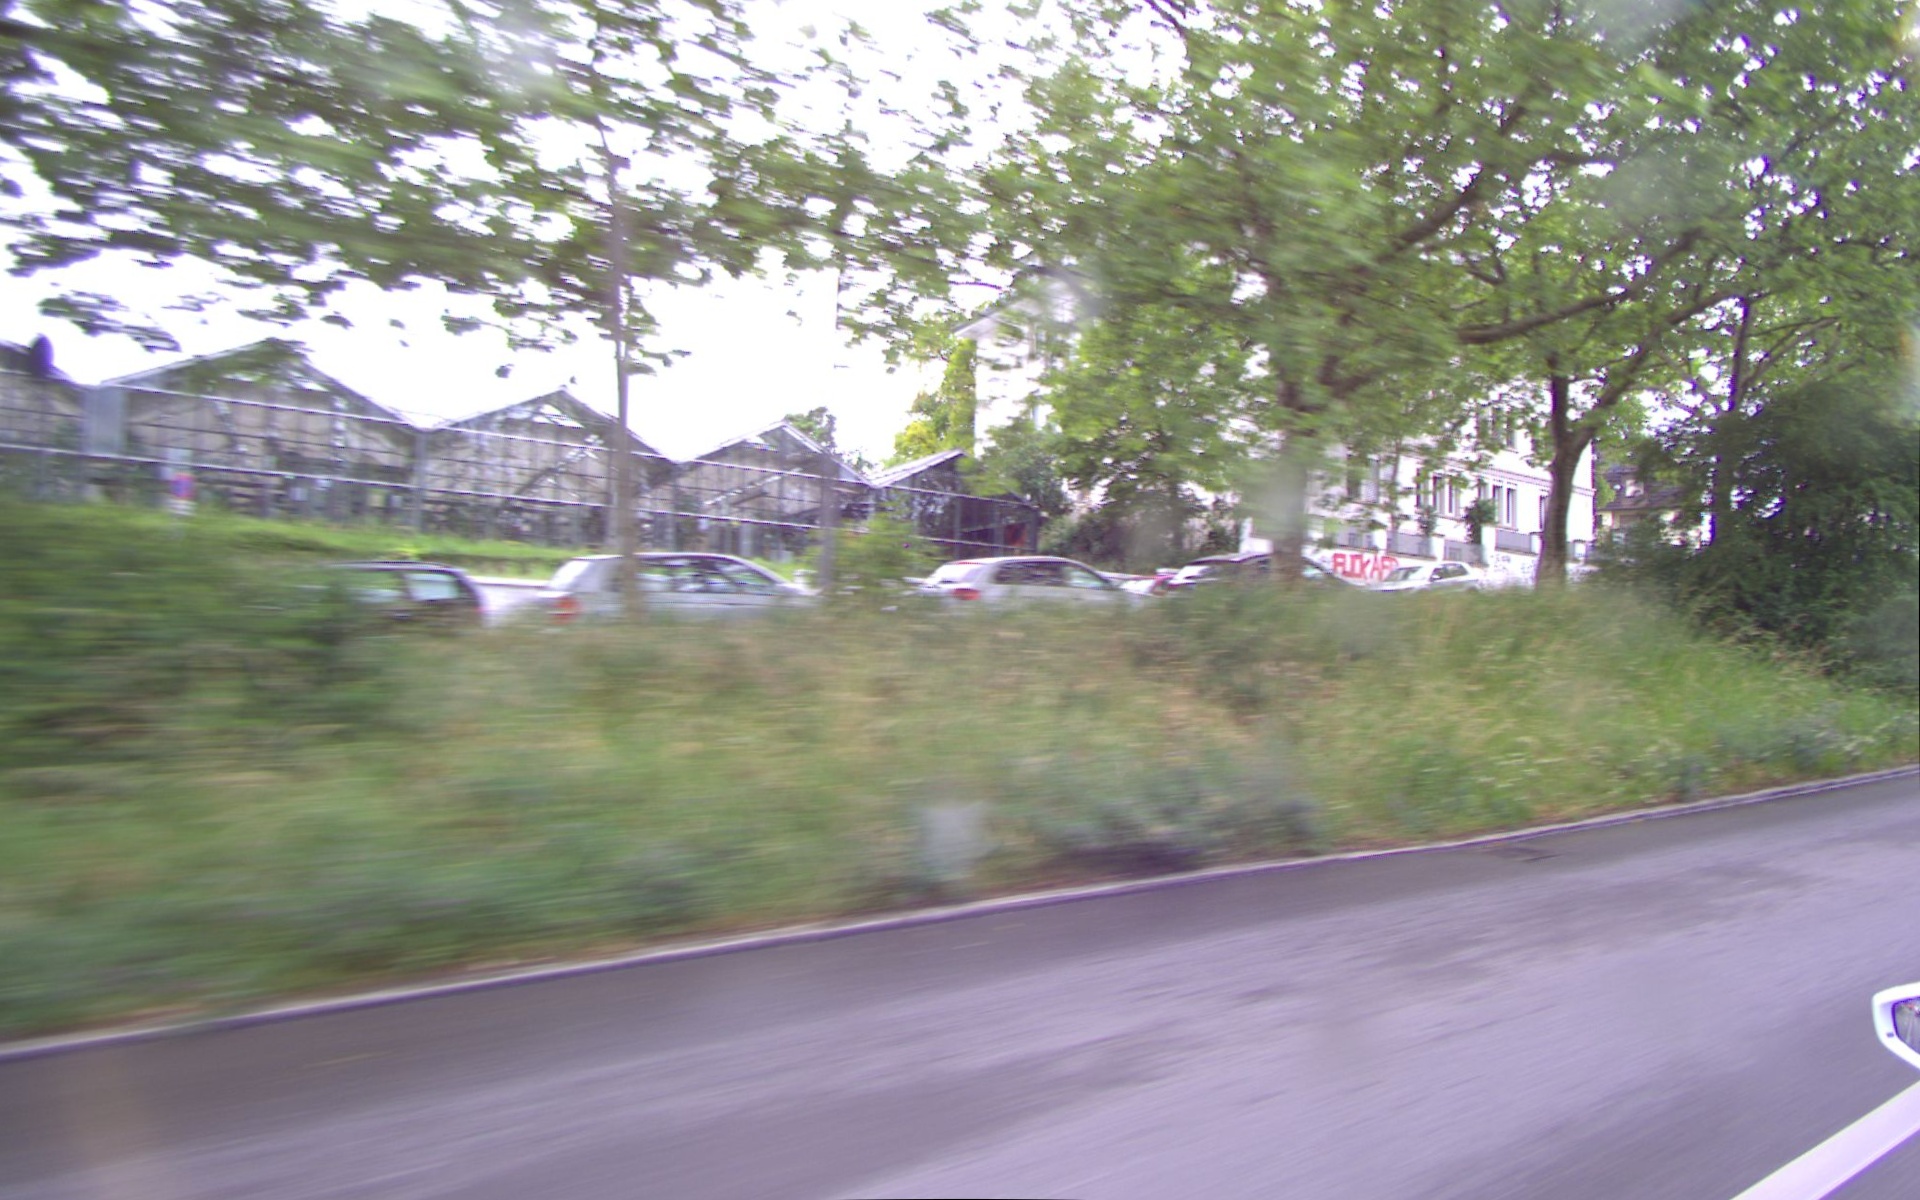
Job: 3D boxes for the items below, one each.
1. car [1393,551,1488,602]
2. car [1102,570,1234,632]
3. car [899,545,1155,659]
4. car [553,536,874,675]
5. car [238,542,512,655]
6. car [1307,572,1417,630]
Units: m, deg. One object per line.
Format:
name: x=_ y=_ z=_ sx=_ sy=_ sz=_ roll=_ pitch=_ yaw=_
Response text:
car: x=15.038 y=-0.701 z=31.388 sx=2.984 sy=1.315 sz=1.374 roll=4 pitch=-4 yaw=-34
car: x=5.113 y=0.074 z=24.631 sx=3.051 sy=1.326 sz=1.354 roll=3 pitch=-3 yaw=-30
car: x=1.009 y=0.107 z=14.703 sx=3.409 sy=1.422 sz=1.693 roll=4 pitch=-4 yaw=-33
car: x=-2.960 y=0.147 z=12.221 sx=3.409 sy=1.422 sz=1.693 roll=4 pitch=-4 yaw=-33
car: x=-9.052 y=0.061 z=15.724 sx=3.480 sy=1.506 sz=1.639 roll=4 pitch=-4 yaw=-33
car: x=11.627 y=0.078 z=29.011 sx=3.019 sy=1.476 sz=1.427 roll=3 pitch=-3 yaw=-31
